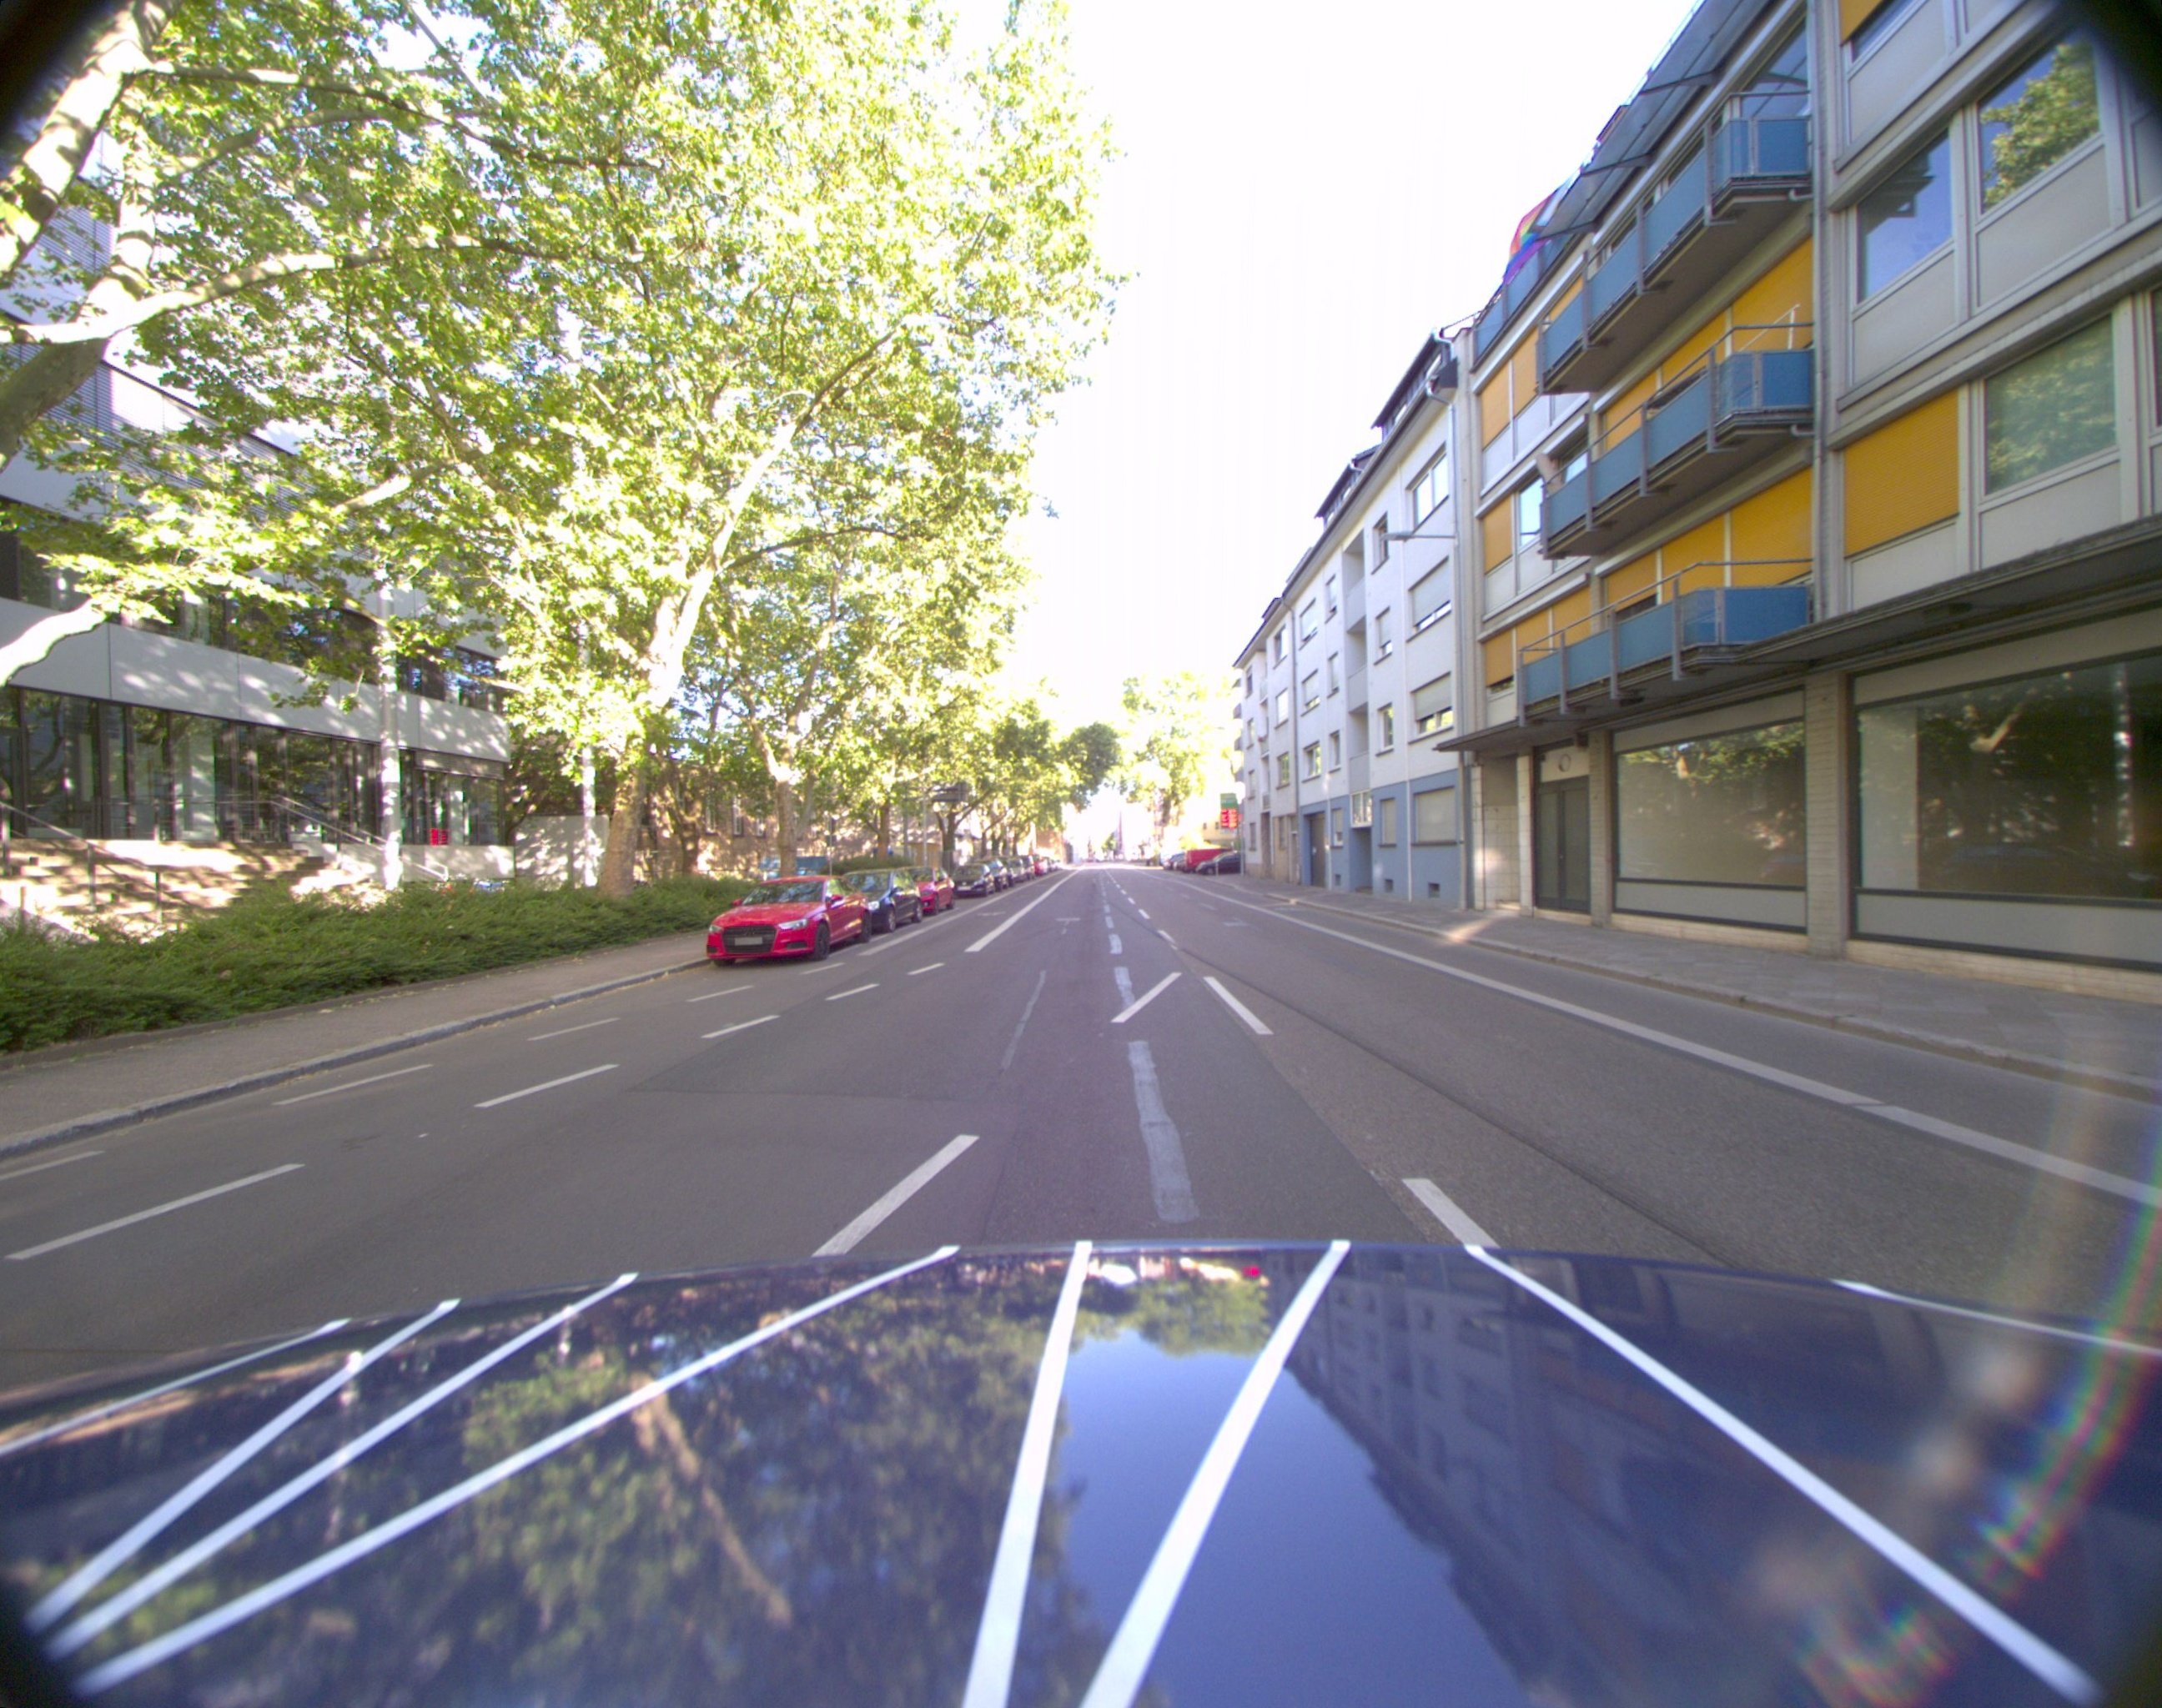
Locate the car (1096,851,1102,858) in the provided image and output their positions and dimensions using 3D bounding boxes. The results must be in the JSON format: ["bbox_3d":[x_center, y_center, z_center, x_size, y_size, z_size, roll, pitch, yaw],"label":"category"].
[{"bbox_3d":[6.131,0.180,259.438,1.998,2.002,3.999,-2,1,1],"label":"car"}]

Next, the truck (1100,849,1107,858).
[{"bbox_3d":[6.846,-0.306,233.807,1.998,2.653,5.314,-2,1,0],"label":"truck"}]

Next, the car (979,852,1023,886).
[{"bbox_3d":[-4.616,0.838,44.499,1.998,1.777,4.572,-2,1,1],"label":"car"}]

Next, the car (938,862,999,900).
[{"bbox_3d":[-4.845,1.129,33.162,1.998,1.447,3.589,-2,1,1],"label":"car"}]

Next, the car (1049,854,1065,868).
[{"bbox_3d":[-3.200,0.904,102.991,1.998,1.682,3.999,-2,1,1],"label":"car"}]

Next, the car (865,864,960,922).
[{"bbox_3d":[-5.135,1.149,23.656,1.998,1.490,3.828,-2,1,1],"label":"car"}]

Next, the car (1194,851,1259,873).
[{"bbox_3d":[10.446,0.563,54.768,4.324,1.398,1.658,-2,1,0],"label":"car"}]

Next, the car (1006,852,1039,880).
[{"bbox_3d":[-4.251,0.843,55.573,1.998,1.838,3.999,-2,1,1],"label":"car"}]

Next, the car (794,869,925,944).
[{"bbox_3d":[-5.178,1.169,18.293,1.998,1.452,3.644,-2,1,1],"label":"car"}]

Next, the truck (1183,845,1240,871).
[{"bbox_3d":[10.276,0.311,60.196,4.092,1.913,2.000,-2,1,0],"label":"truck"}]

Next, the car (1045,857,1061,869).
[{"bbox_3d":[-3.361,1.068,92.720,1.693,1.364,3.999,-2,1,1],"label":"car"}]

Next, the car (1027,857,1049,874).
[{"bbox_3d":[-4.048,1.081,71.980,1.824,1.466,3.999,-2,1,1],"label":"car"}]

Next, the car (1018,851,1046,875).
[{"bbox_3d":[-4.234,0.766,66.373,1.998,1.960,3.999,-2,1,1],"label":"car"}]

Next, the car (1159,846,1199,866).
[{"bbox_3d":[10.936,0.208,85.298,4.236,2.025,2.000,-2,1,3],"label":"car"}]

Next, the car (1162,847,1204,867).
[{"bbox_3d":[10.850,0.274,80.898,4.236,1.945,2.000,-2,1,3],"label":"car"}]

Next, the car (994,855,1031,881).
[{"bbox_3d":[-4.544,0.925,50.903,1.998,1.557,4.142,-2,1,1],"label":"car"}]

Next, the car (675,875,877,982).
[{"bbox_3d":[-5.193,1.197,13.620,1.907,1.417,3.999,-2,1,1],"label":"car"}]

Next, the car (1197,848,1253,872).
[{"bbox_3d":[10.791,0.441,57.099,3.810,1.563,1.658,-2,1,0],"label":"car"}]

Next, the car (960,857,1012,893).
[{"bbox_3d":[-4.692,1.005,38.108,1.998,1.592,4.142,-2,1,1],"label":"car"}]
